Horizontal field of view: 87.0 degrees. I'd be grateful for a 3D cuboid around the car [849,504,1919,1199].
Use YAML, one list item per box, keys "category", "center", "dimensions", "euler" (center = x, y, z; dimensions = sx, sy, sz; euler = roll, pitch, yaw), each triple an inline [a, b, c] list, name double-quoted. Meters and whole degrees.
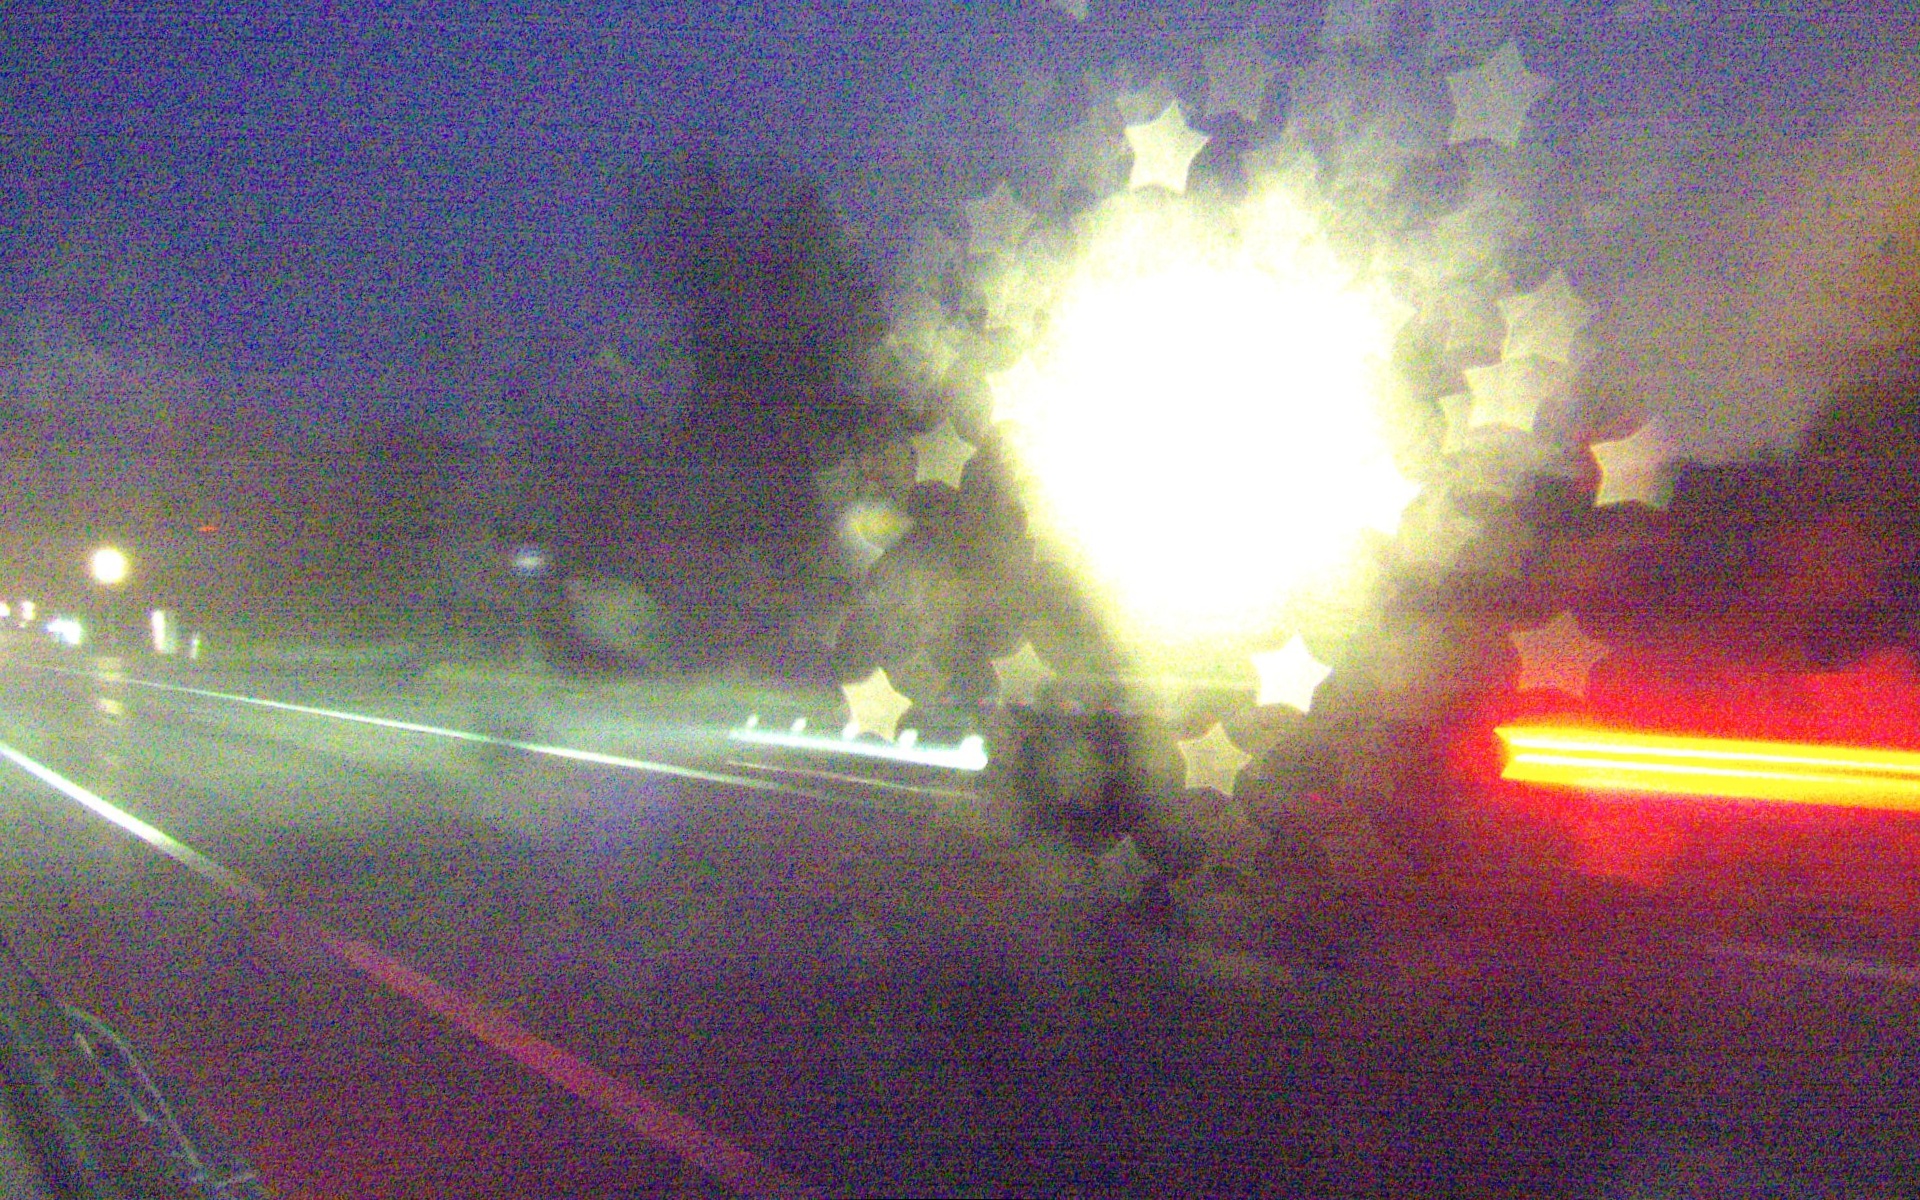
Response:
- category: "car"
  center: [1.607, 0.632, 3.907]
  dimensions: [3.996, 1.634, 1.790]
  euler: [-1, -1, 40]
